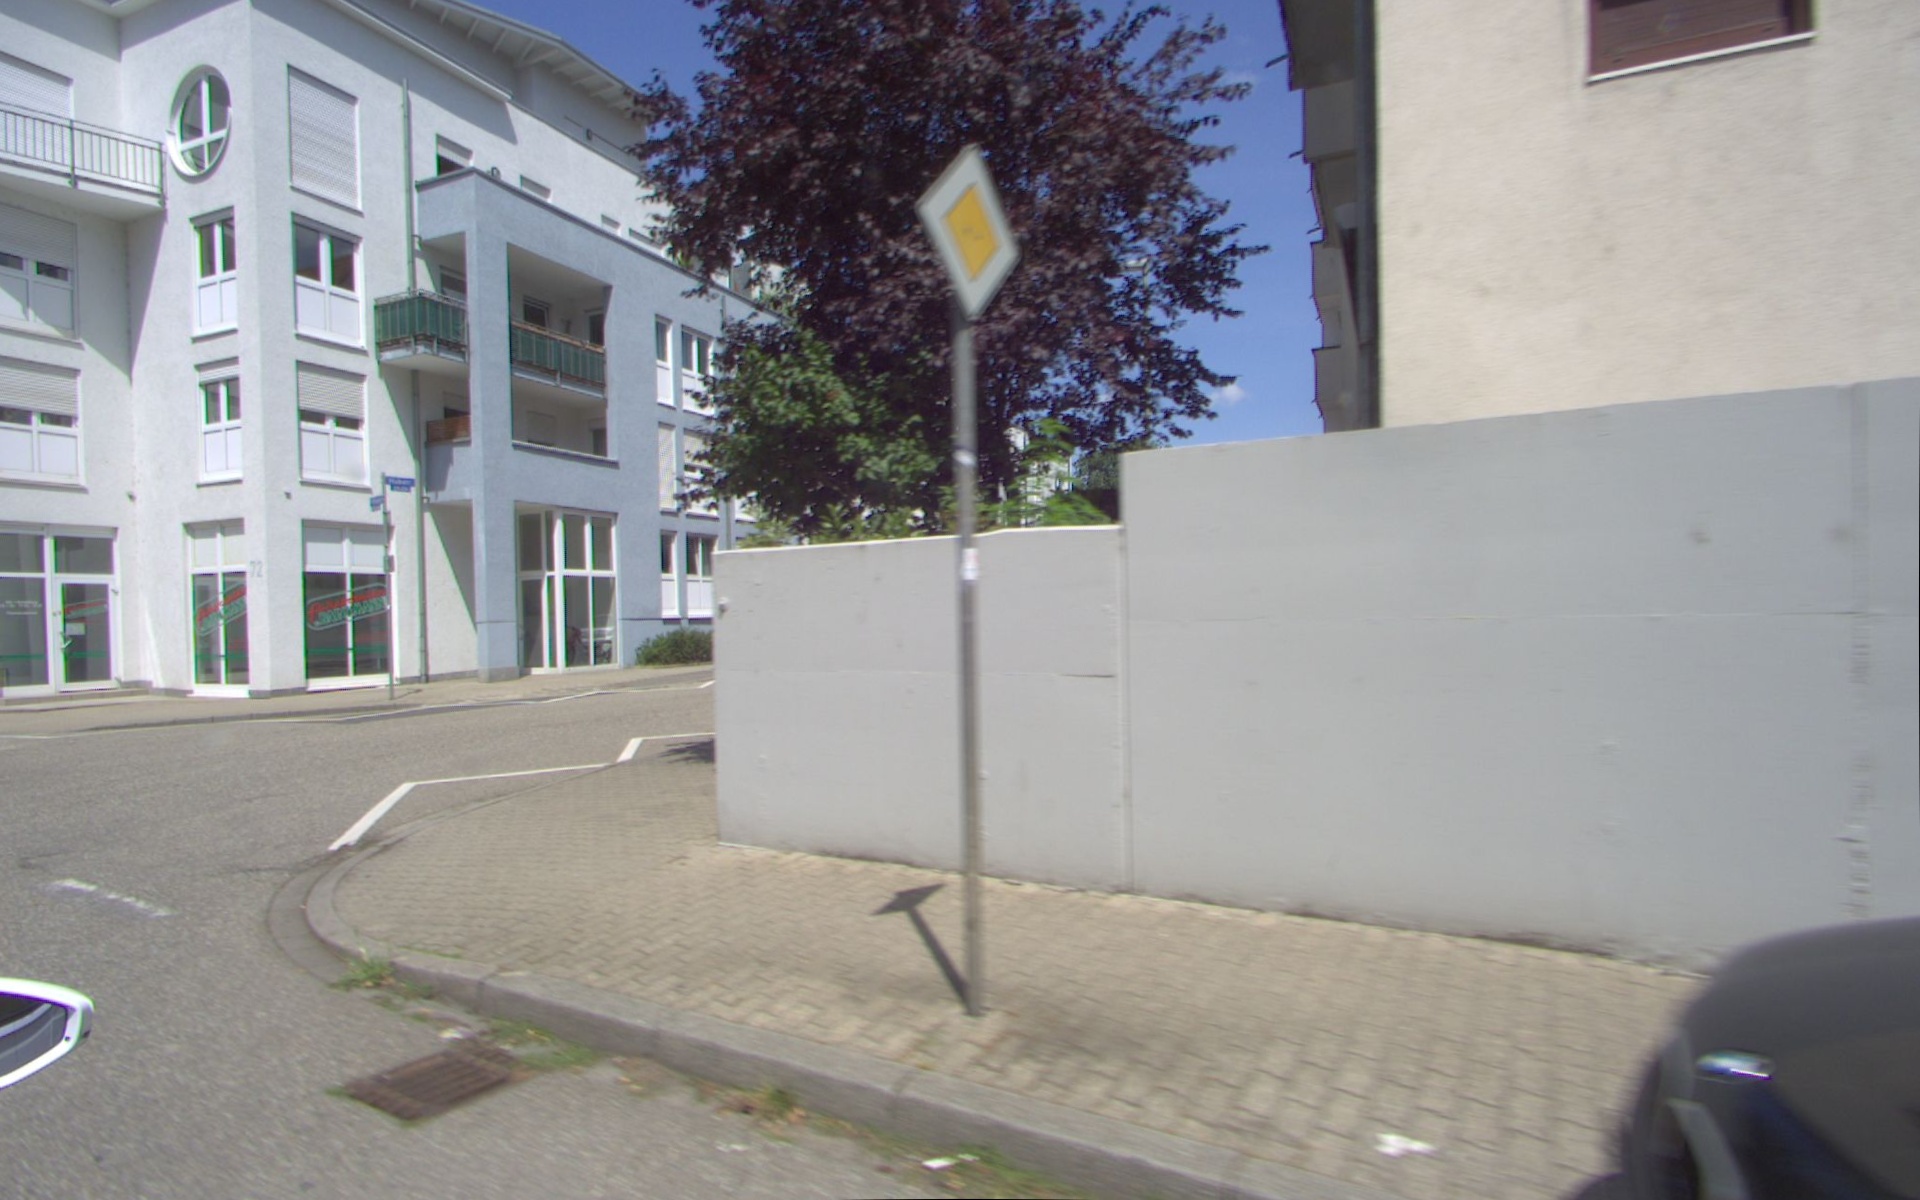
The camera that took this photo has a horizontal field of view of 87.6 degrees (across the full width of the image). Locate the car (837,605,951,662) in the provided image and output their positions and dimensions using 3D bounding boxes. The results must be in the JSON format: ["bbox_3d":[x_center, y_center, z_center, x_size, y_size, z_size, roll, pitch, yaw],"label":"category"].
[{"bbox_3d":[-1.777,0.900,28.138,1.511,1.486,3.772,-1,-1,26],"label":"car"}]

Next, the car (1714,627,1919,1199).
[{"bbox_3d":[3.057,0.718,0.405,4.175,1.394,1.654,-1,0,29],"label":"car"}]

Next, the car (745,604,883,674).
[{"bbox_3d":[-3.462,0.895,24.313,1.571,1.561,3.504,-1,0,27],"label":"car"}]
